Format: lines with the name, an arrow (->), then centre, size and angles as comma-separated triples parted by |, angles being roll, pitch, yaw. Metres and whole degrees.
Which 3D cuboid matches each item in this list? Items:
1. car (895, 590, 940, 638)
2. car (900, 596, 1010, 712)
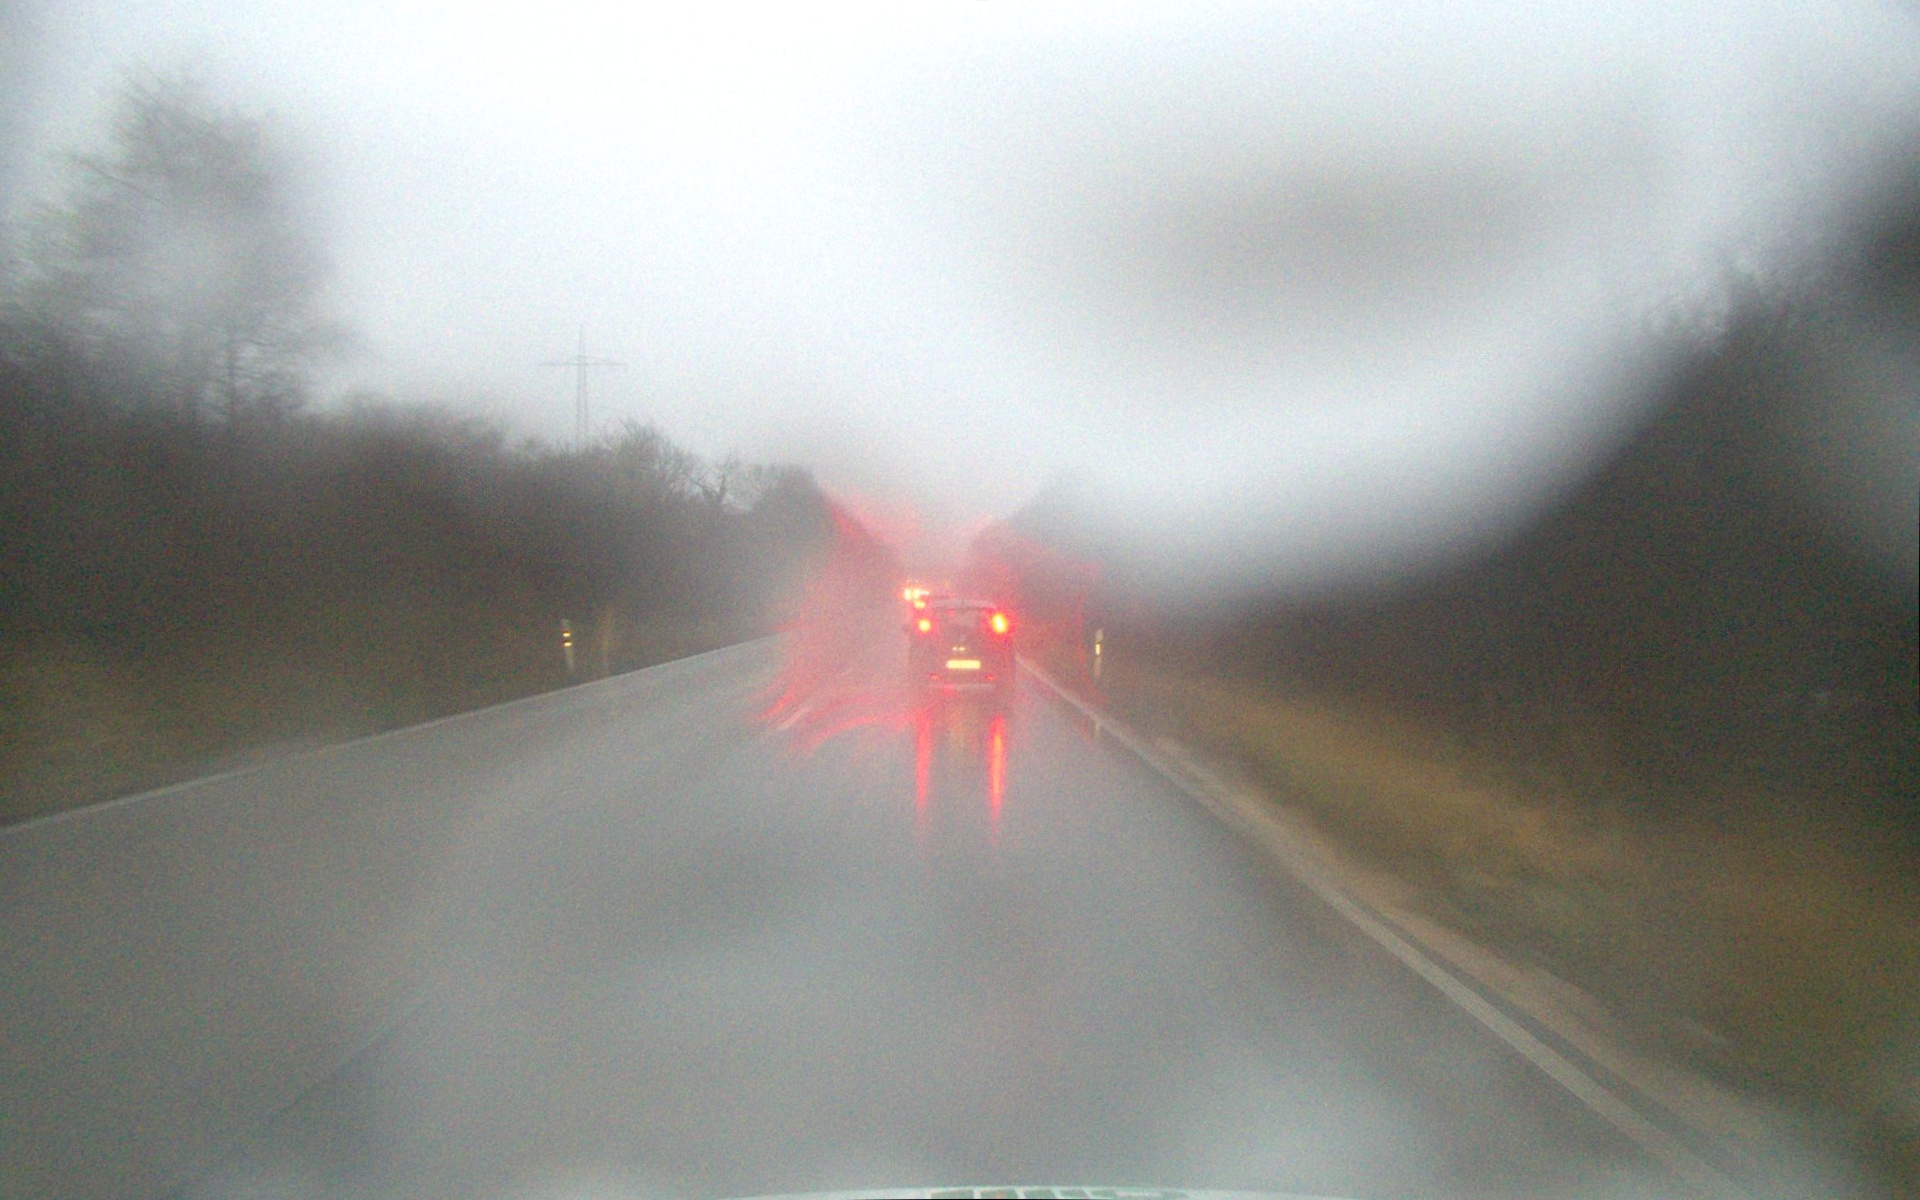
car -> -1.693, 0.544, 66.320 | 1.698, 1.810, 3.999 | 1, 0, -1
car -> -0.101, 0.801, 26.410 | 1.614, 1.701, 3.513 | 1, 0, -1
